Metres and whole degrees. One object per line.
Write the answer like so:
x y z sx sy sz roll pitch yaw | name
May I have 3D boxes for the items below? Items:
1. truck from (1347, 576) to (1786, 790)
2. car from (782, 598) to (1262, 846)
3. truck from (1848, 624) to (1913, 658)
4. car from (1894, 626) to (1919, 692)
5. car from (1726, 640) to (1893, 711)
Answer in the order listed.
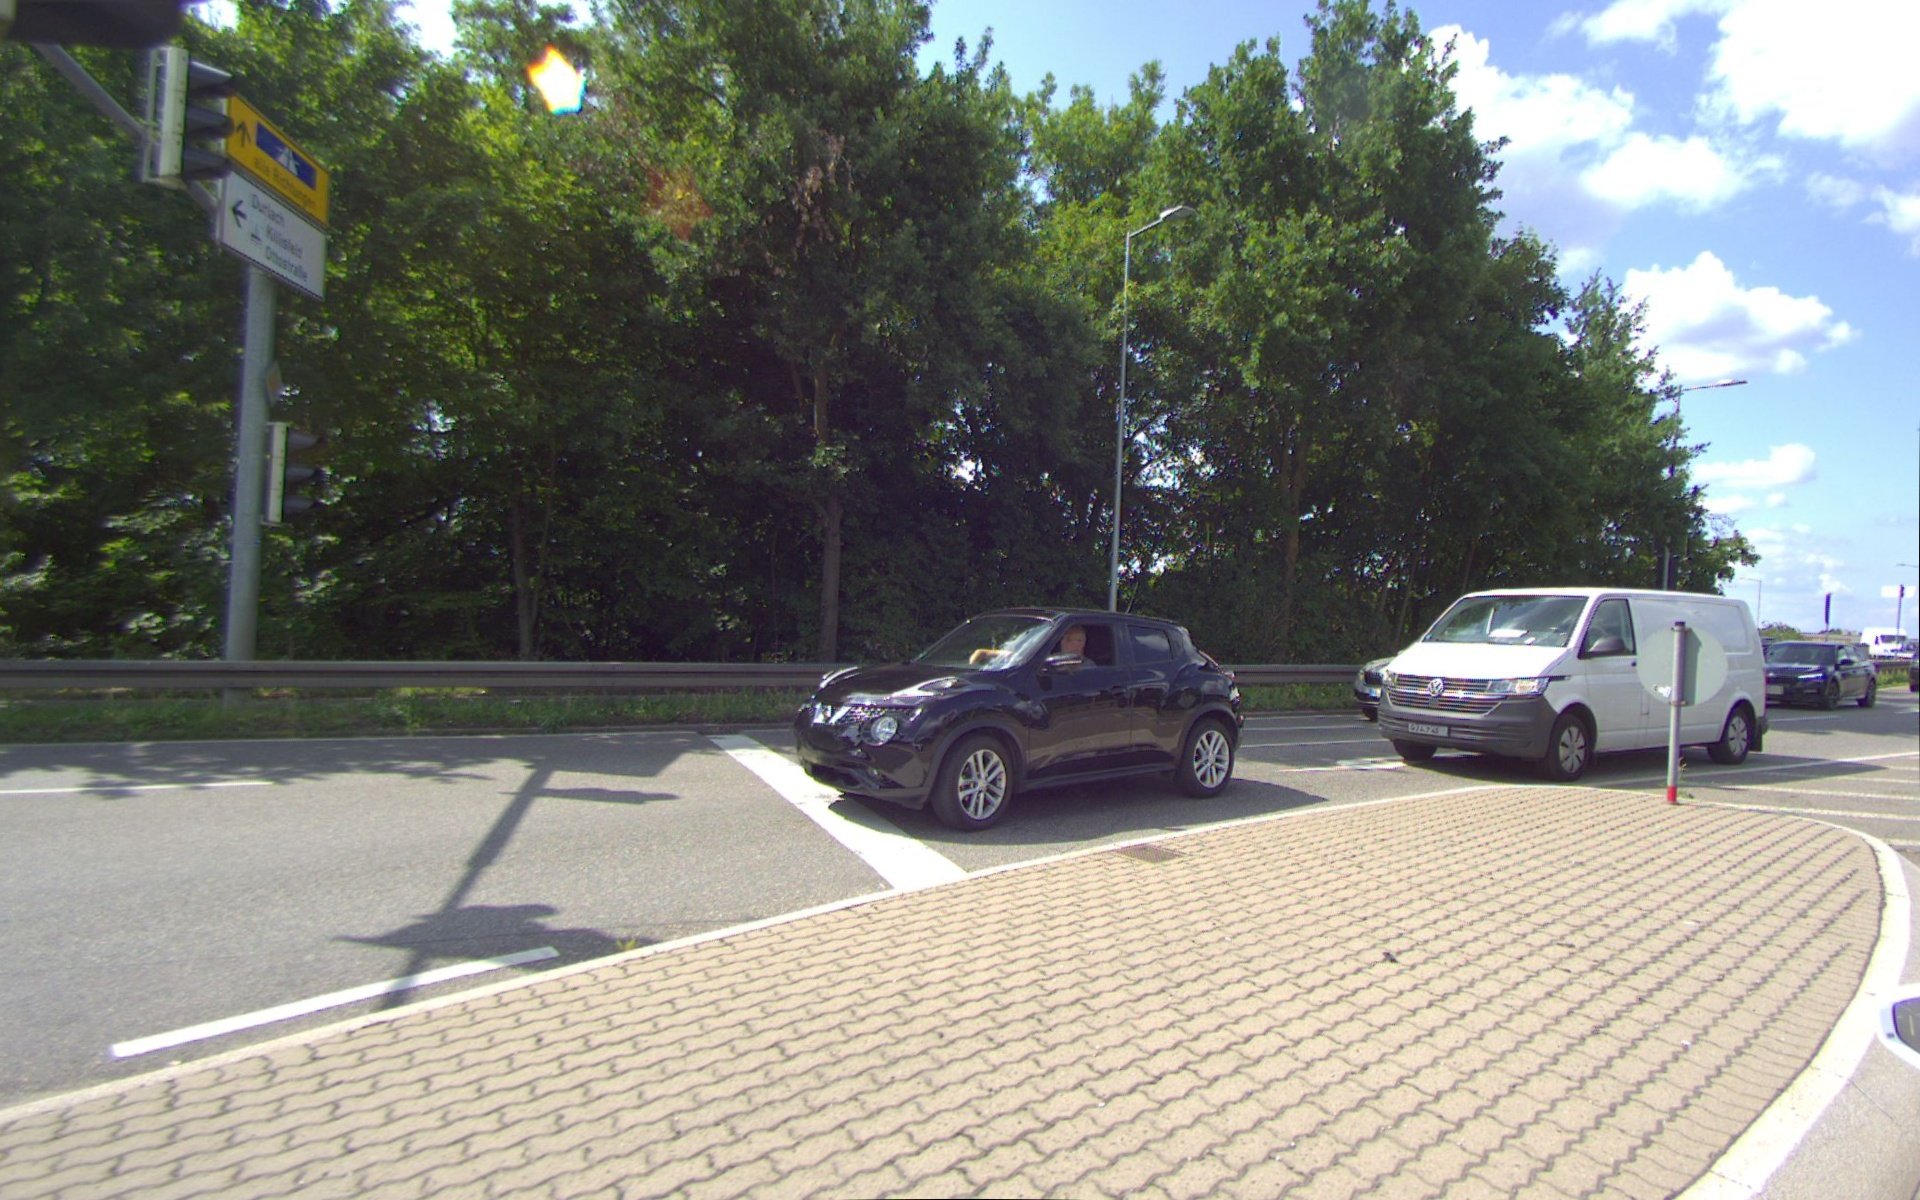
6.936 0.830 11.299 5.308 1.938 1.951 2 -1 -31 | truck
0.636 0.830 8.261 3.789 1.578 1.684 2 -1 -39 | car
73.413 3.249 80.213 1.962 2.541 5.944 1 -1 24 | truck
30.687 1.813 30.819 5.081 1.939 1.981 2 -2 -35 | car
19.208 1.665 22.681 4.289 1.428 1.627 2 -2 -31 | car
